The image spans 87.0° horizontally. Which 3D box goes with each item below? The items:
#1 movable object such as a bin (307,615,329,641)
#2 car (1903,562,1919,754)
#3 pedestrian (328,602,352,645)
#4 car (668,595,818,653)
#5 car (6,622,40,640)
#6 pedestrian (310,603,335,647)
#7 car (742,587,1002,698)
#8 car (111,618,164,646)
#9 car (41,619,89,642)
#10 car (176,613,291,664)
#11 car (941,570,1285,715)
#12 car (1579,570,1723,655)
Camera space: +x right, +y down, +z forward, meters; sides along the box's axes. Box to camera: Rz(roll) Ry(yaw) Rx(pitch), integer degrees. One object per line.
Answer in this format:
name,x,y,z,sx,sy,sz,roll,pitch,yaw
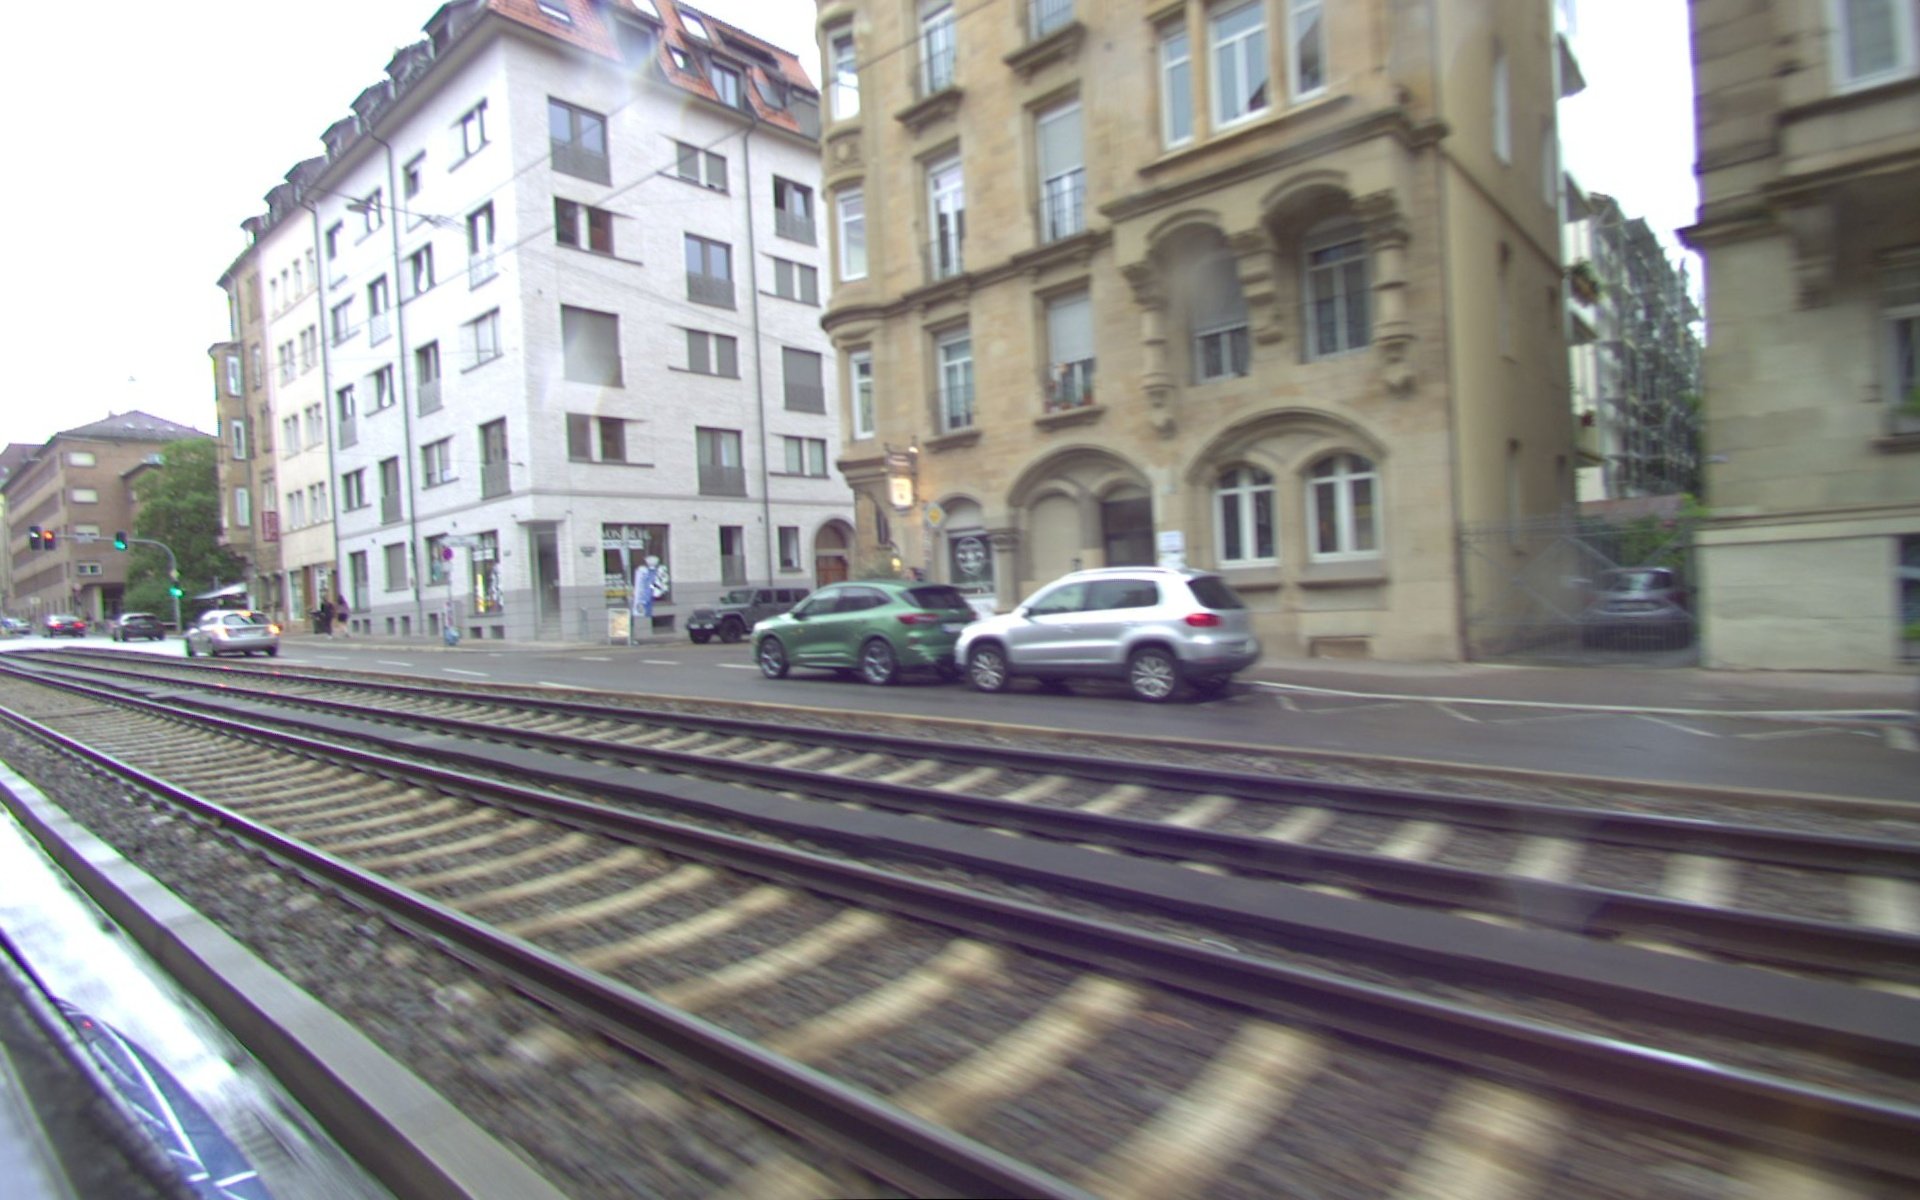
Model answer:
movable object such as a bin,-28.811,1.247,45.423,0.563,1.088,0.623,-2,4,41
car,9.560,0.418,7.123,4.167,1.519,1.851,-2,-1,41
pedestrian,-25.552,0.953,41.706,0.658,1.731,0.595,-2,2,44
car,-7.121,0.748,33.656,2.032,1.741,4.647,-2,0,38
car,-81.035,2.655,87.502,4.642,1.472,1.694,-2,0,42
pedestrian,-25.978,1.011,41.257,0.746,1.731,0.595,-2,2,44
car,-1.574,0.657,16.902,4.430,1.614,1.838,-2,-1,43
car,-43.170,1.681,53.109,3.781,1.398,1.686,-2,-1,43
car,-61.330,2.099,69.306,4.860,1.468,2.065,-2,-1,43
car,-22.881,1.189,31.814,4.291,1.468,1.961,-2,-1,40
car,1.962,0.530,13.778,4.312,1.665,1.840,-2,-1,40
car,13.155,0.196,19.188,1.731,1.449,3.576,-2,0,43
